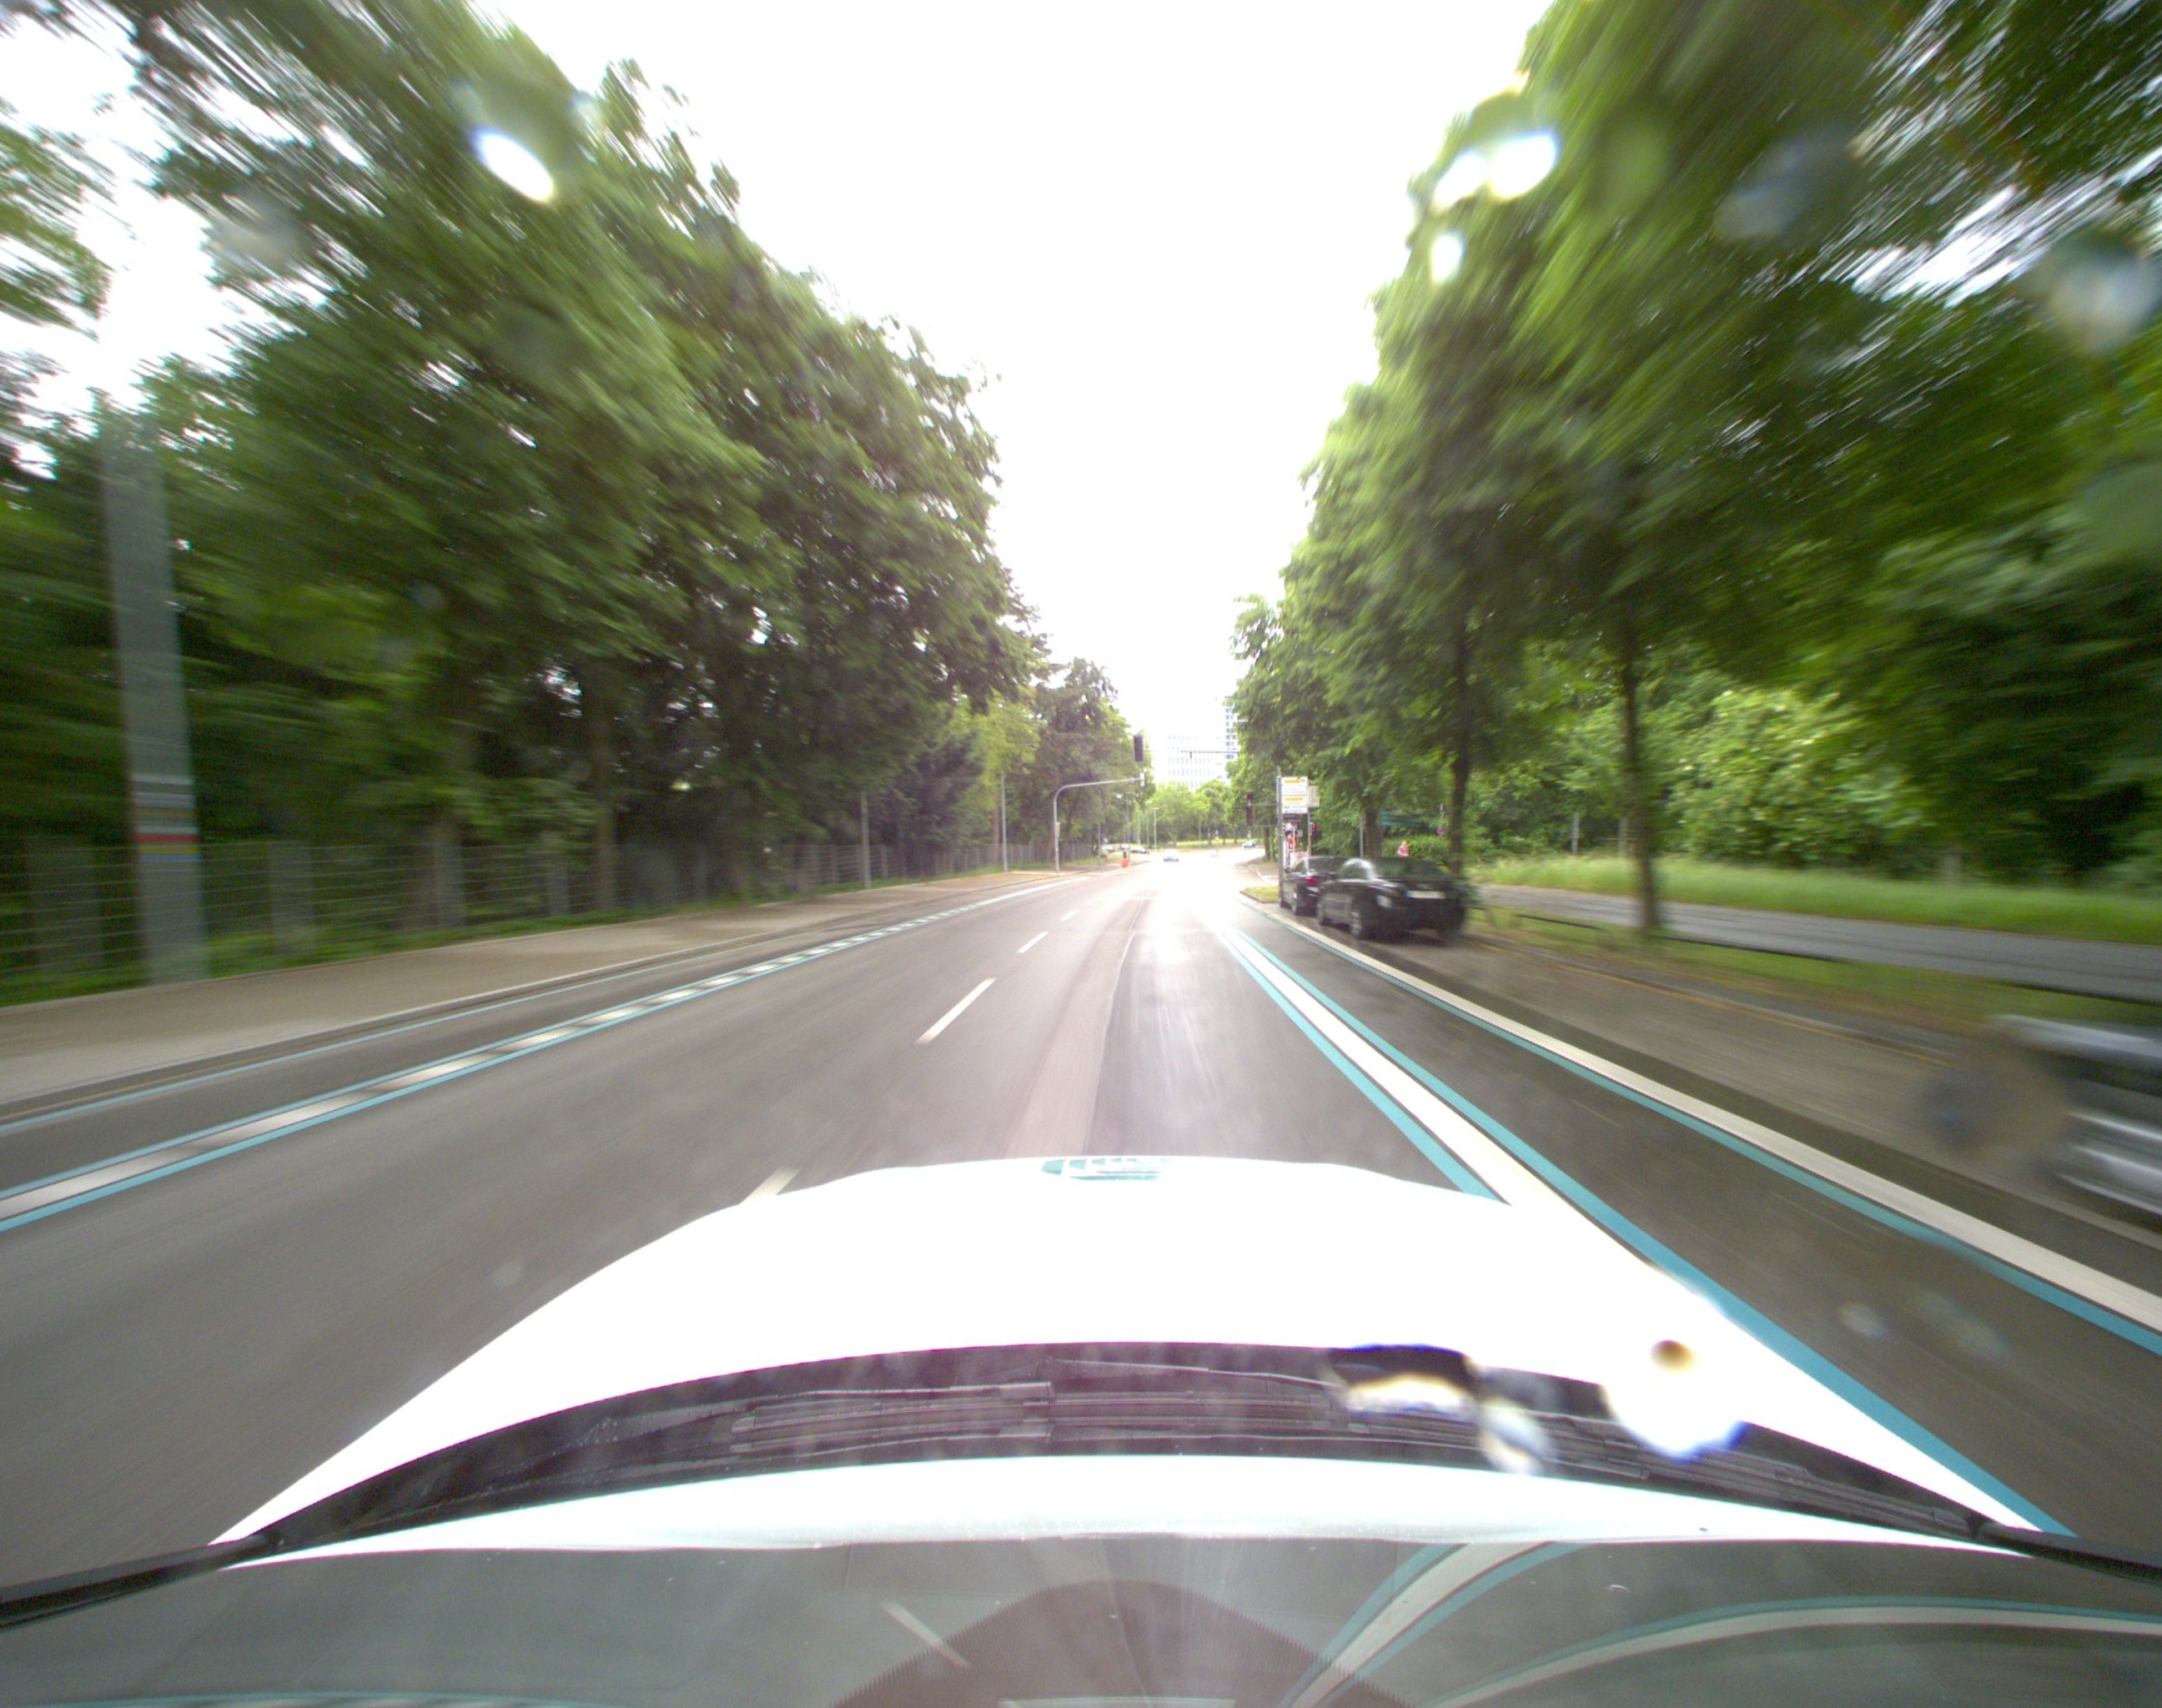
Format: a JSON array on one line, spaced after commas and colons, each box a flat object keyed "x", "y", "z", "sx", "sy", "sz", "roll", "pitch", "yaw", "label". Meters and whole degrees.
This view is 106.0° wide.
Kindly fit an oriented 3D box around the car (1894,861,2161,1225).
[{"x": 5.050, "y": 0.737, "z": 1.808, "sx": 1.775, "sy": 1.407, "sz": 4.847, "roll": 0, "pitch": 0, "yaw": 2, "label": "car"}]

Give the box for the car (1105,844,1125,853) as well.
[{"x": 7.186, "y": -1.137, "z": 170.823, "sx": 1.975, "sy": 2.013, "sz": 4.025, "roll": -1, "pitch": 0, "yaw": 42, "label": "car"}]

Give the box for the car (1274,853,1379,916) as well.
[{"x": 6.229, "y": 0.707, "z": 21.208, "sx": 1.748, "sy": 1.440, "sz": 4.865, "roll": 0, "pitch": 0, "yaw": 6, "label": "car"}]

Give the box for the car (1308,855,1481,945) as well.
[{"x": 5.734, "y": 0.749, "z": 15.551, "sx": 1.692, "sy": 1.420, "sz": 4.767, "roll": 1, "pitch": 0, "yaw": 3, "label": "car"}]

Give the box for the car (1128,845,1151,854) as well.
[{"x": 10.822, "y": -0.779, "z": 150.705, "sx": 3.952, "sy": 1.441, "sz": 1.616, "roll": 4, "pitch": 3, "yaw": 24, "label": "car"}]

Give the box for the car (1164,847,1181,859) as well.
[{"x": 11.923, "y": -0.144, "z": 105.787, "sx": 1.832, "sy": 1.457, "sz": 4.513, "roll": -1, "pitch": 1, "yaw": 10, "label": "car"}]

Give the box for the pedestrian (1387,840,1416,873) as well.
[{"x": 17.012, "y": 0.125, "z": 43.246, "sx": 0.892, "sy": 1.733, "sz": 1.136, "roll": 0, "pitch": 0, "yaw": -27, "label": "pedestrian"}]

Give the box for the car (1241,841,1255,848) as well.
[{"x": 36.778, "y": -2.101, "z": 179.607, "sx": 1.975, "sy": 1.685, "sz": 4.024, "roll": -1, "pitch": 0, "yaw": 26, "label": "car"}]
